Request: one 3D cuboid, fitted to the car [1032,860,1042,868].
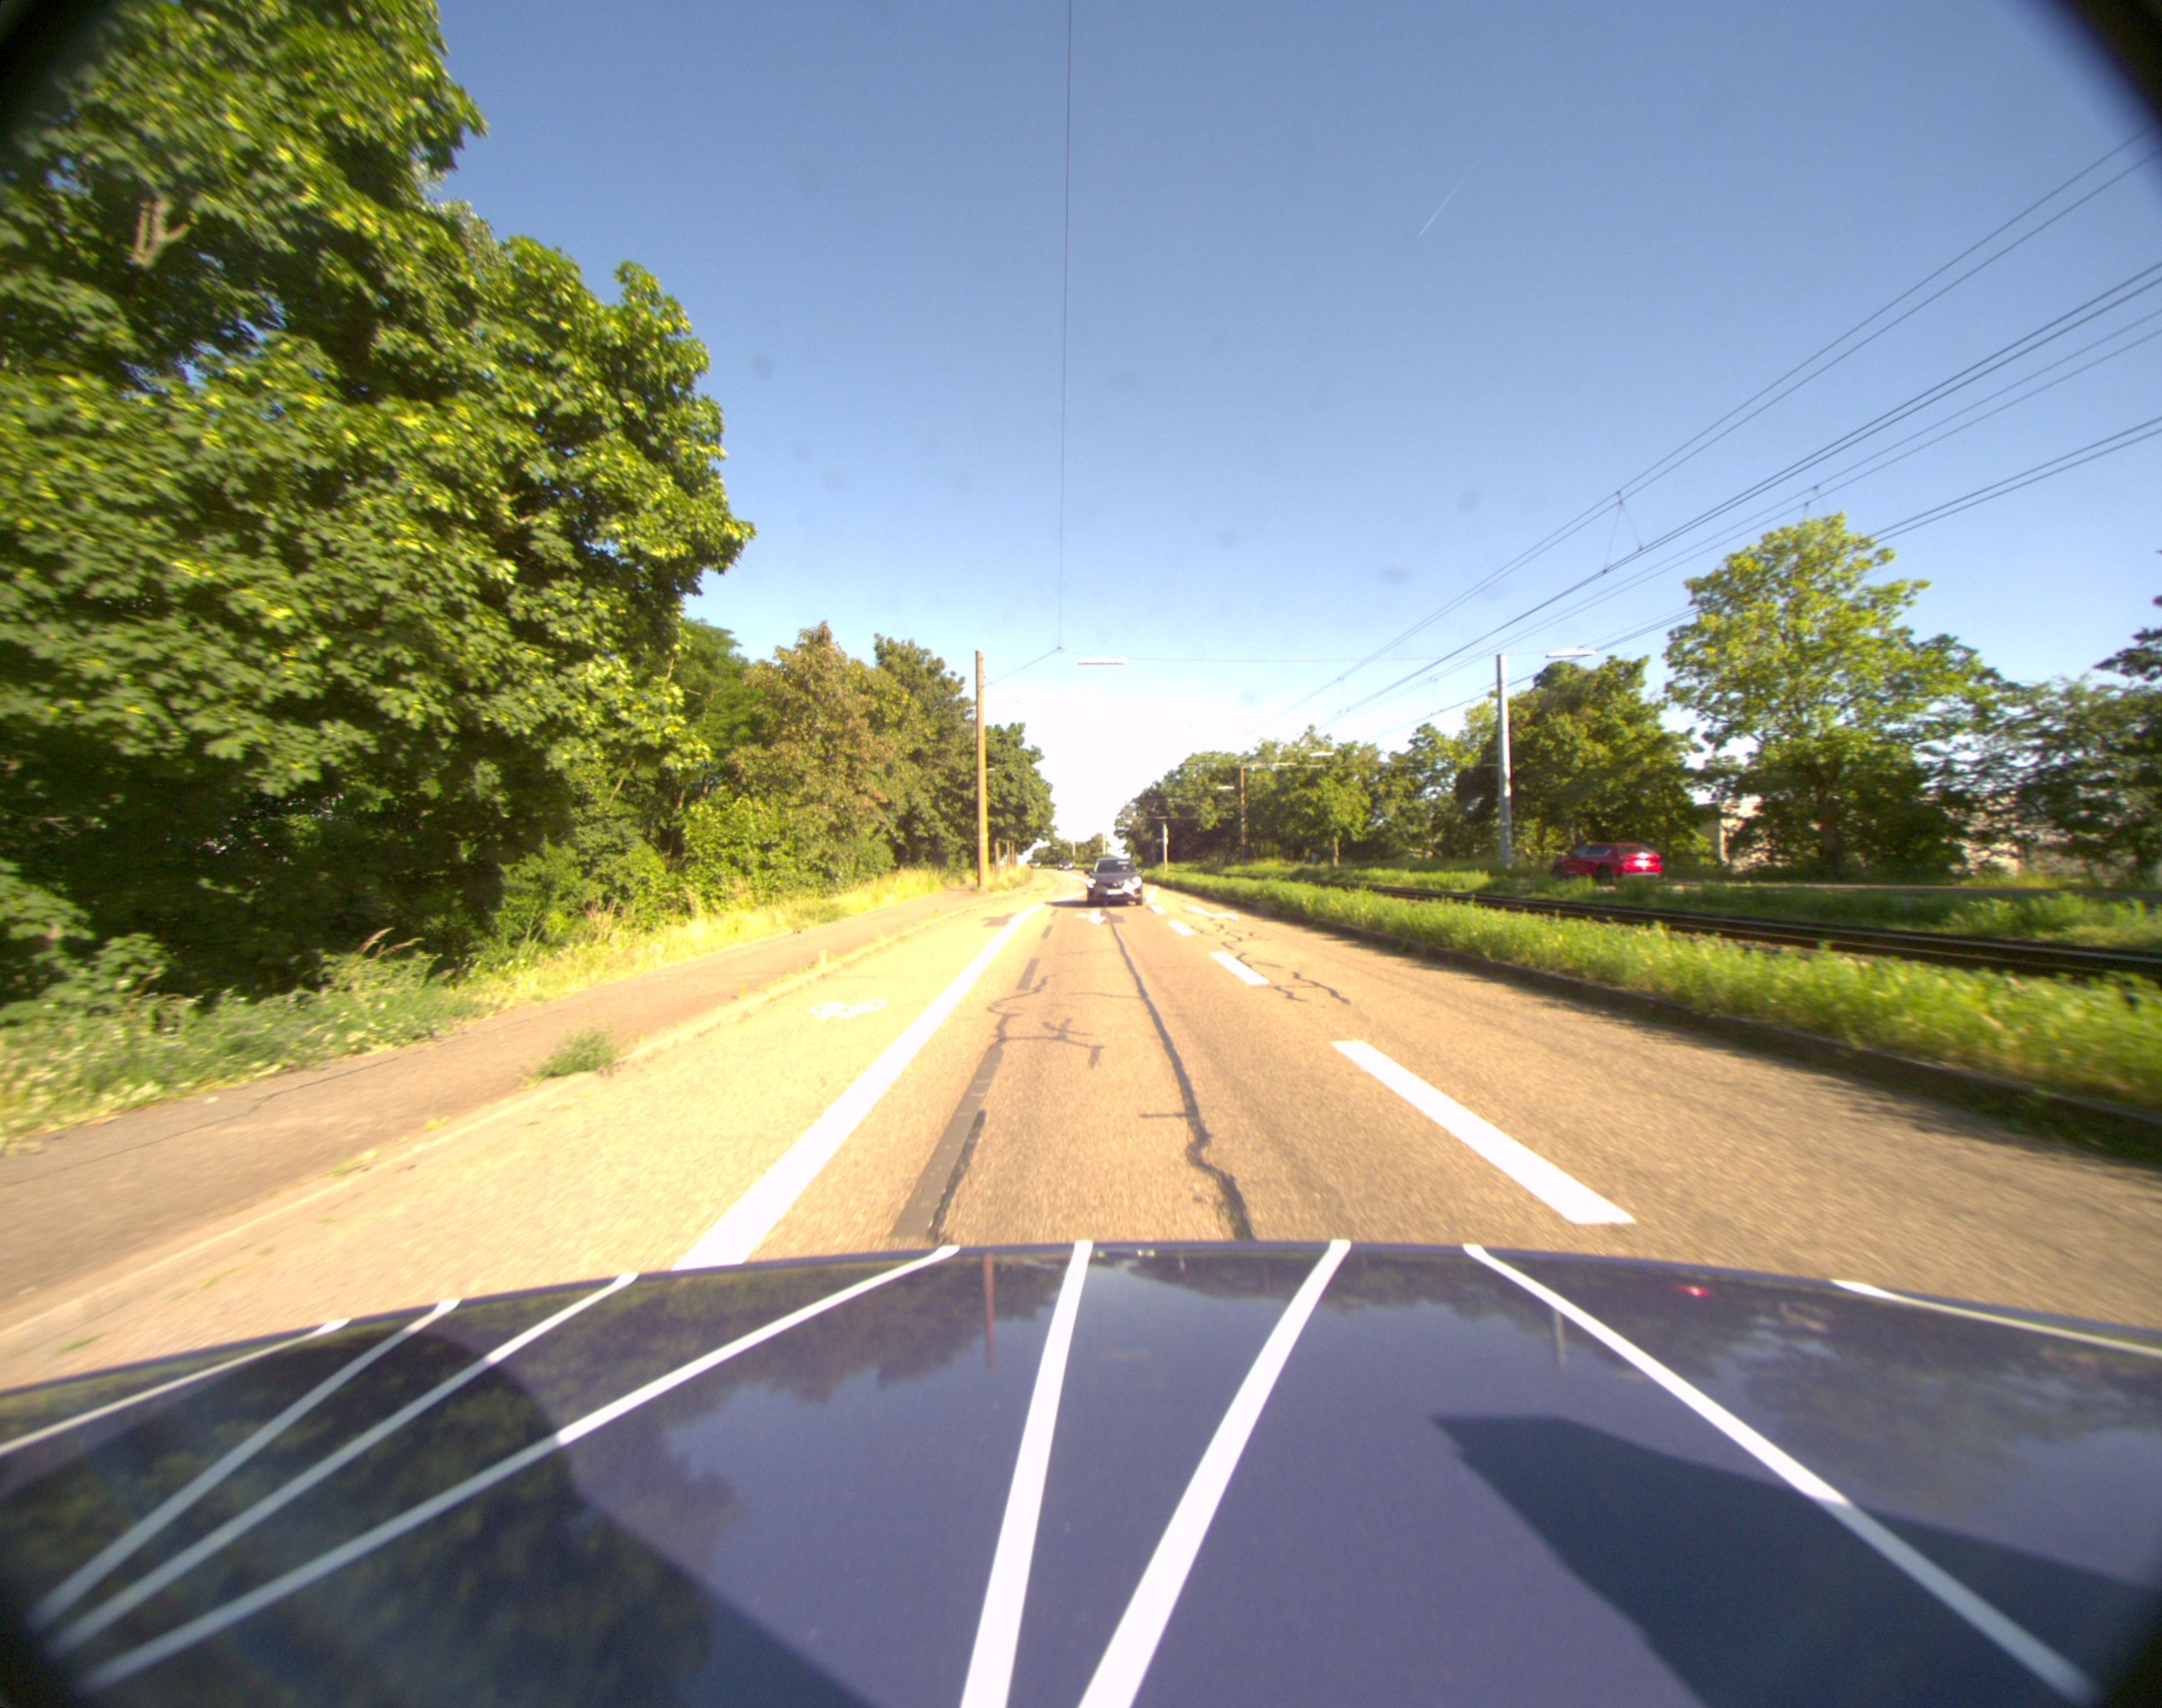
[{"bbox_3d":[-9.588,2.179,166.079,2.000,1.577,3.998,-2,0,-7],"label":"car"}]

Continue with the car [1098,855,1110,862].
[{"bbox_3d":[4.904,0.921,162.460,1.716,1.470,3.996,-2,0,-10],"label":"car"}]

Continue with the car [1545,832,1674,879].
[{"bbox_3d":[20.835,0.044,30.222,2.009,1.692,4.466,-1,0,-1],"label":"car"}]

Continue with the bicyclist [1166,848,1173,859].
[{"bbox_3d":[13.359,-0.062,114.738,0.821,1.726,0.902,-2,0,-4],"label":"bicyclist"}]

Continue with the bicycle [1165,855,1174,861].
[{"bbox_3d":[13.374,0.544,114.837,0.820,0.909,2.536,-2,0,-4],"label":"bicycle"}]

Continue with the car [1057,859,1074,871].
[{"bbox_3d":[-2.066,1.487,102.481,1.999,1.577,3.998,-2,0,-5],"label":"car"}]

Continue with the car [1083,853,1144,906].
[{"bbox_3d":[1.087,0.791,25.893,1.821,1.589,4.414,-2,0,2],"label":"car"}]
